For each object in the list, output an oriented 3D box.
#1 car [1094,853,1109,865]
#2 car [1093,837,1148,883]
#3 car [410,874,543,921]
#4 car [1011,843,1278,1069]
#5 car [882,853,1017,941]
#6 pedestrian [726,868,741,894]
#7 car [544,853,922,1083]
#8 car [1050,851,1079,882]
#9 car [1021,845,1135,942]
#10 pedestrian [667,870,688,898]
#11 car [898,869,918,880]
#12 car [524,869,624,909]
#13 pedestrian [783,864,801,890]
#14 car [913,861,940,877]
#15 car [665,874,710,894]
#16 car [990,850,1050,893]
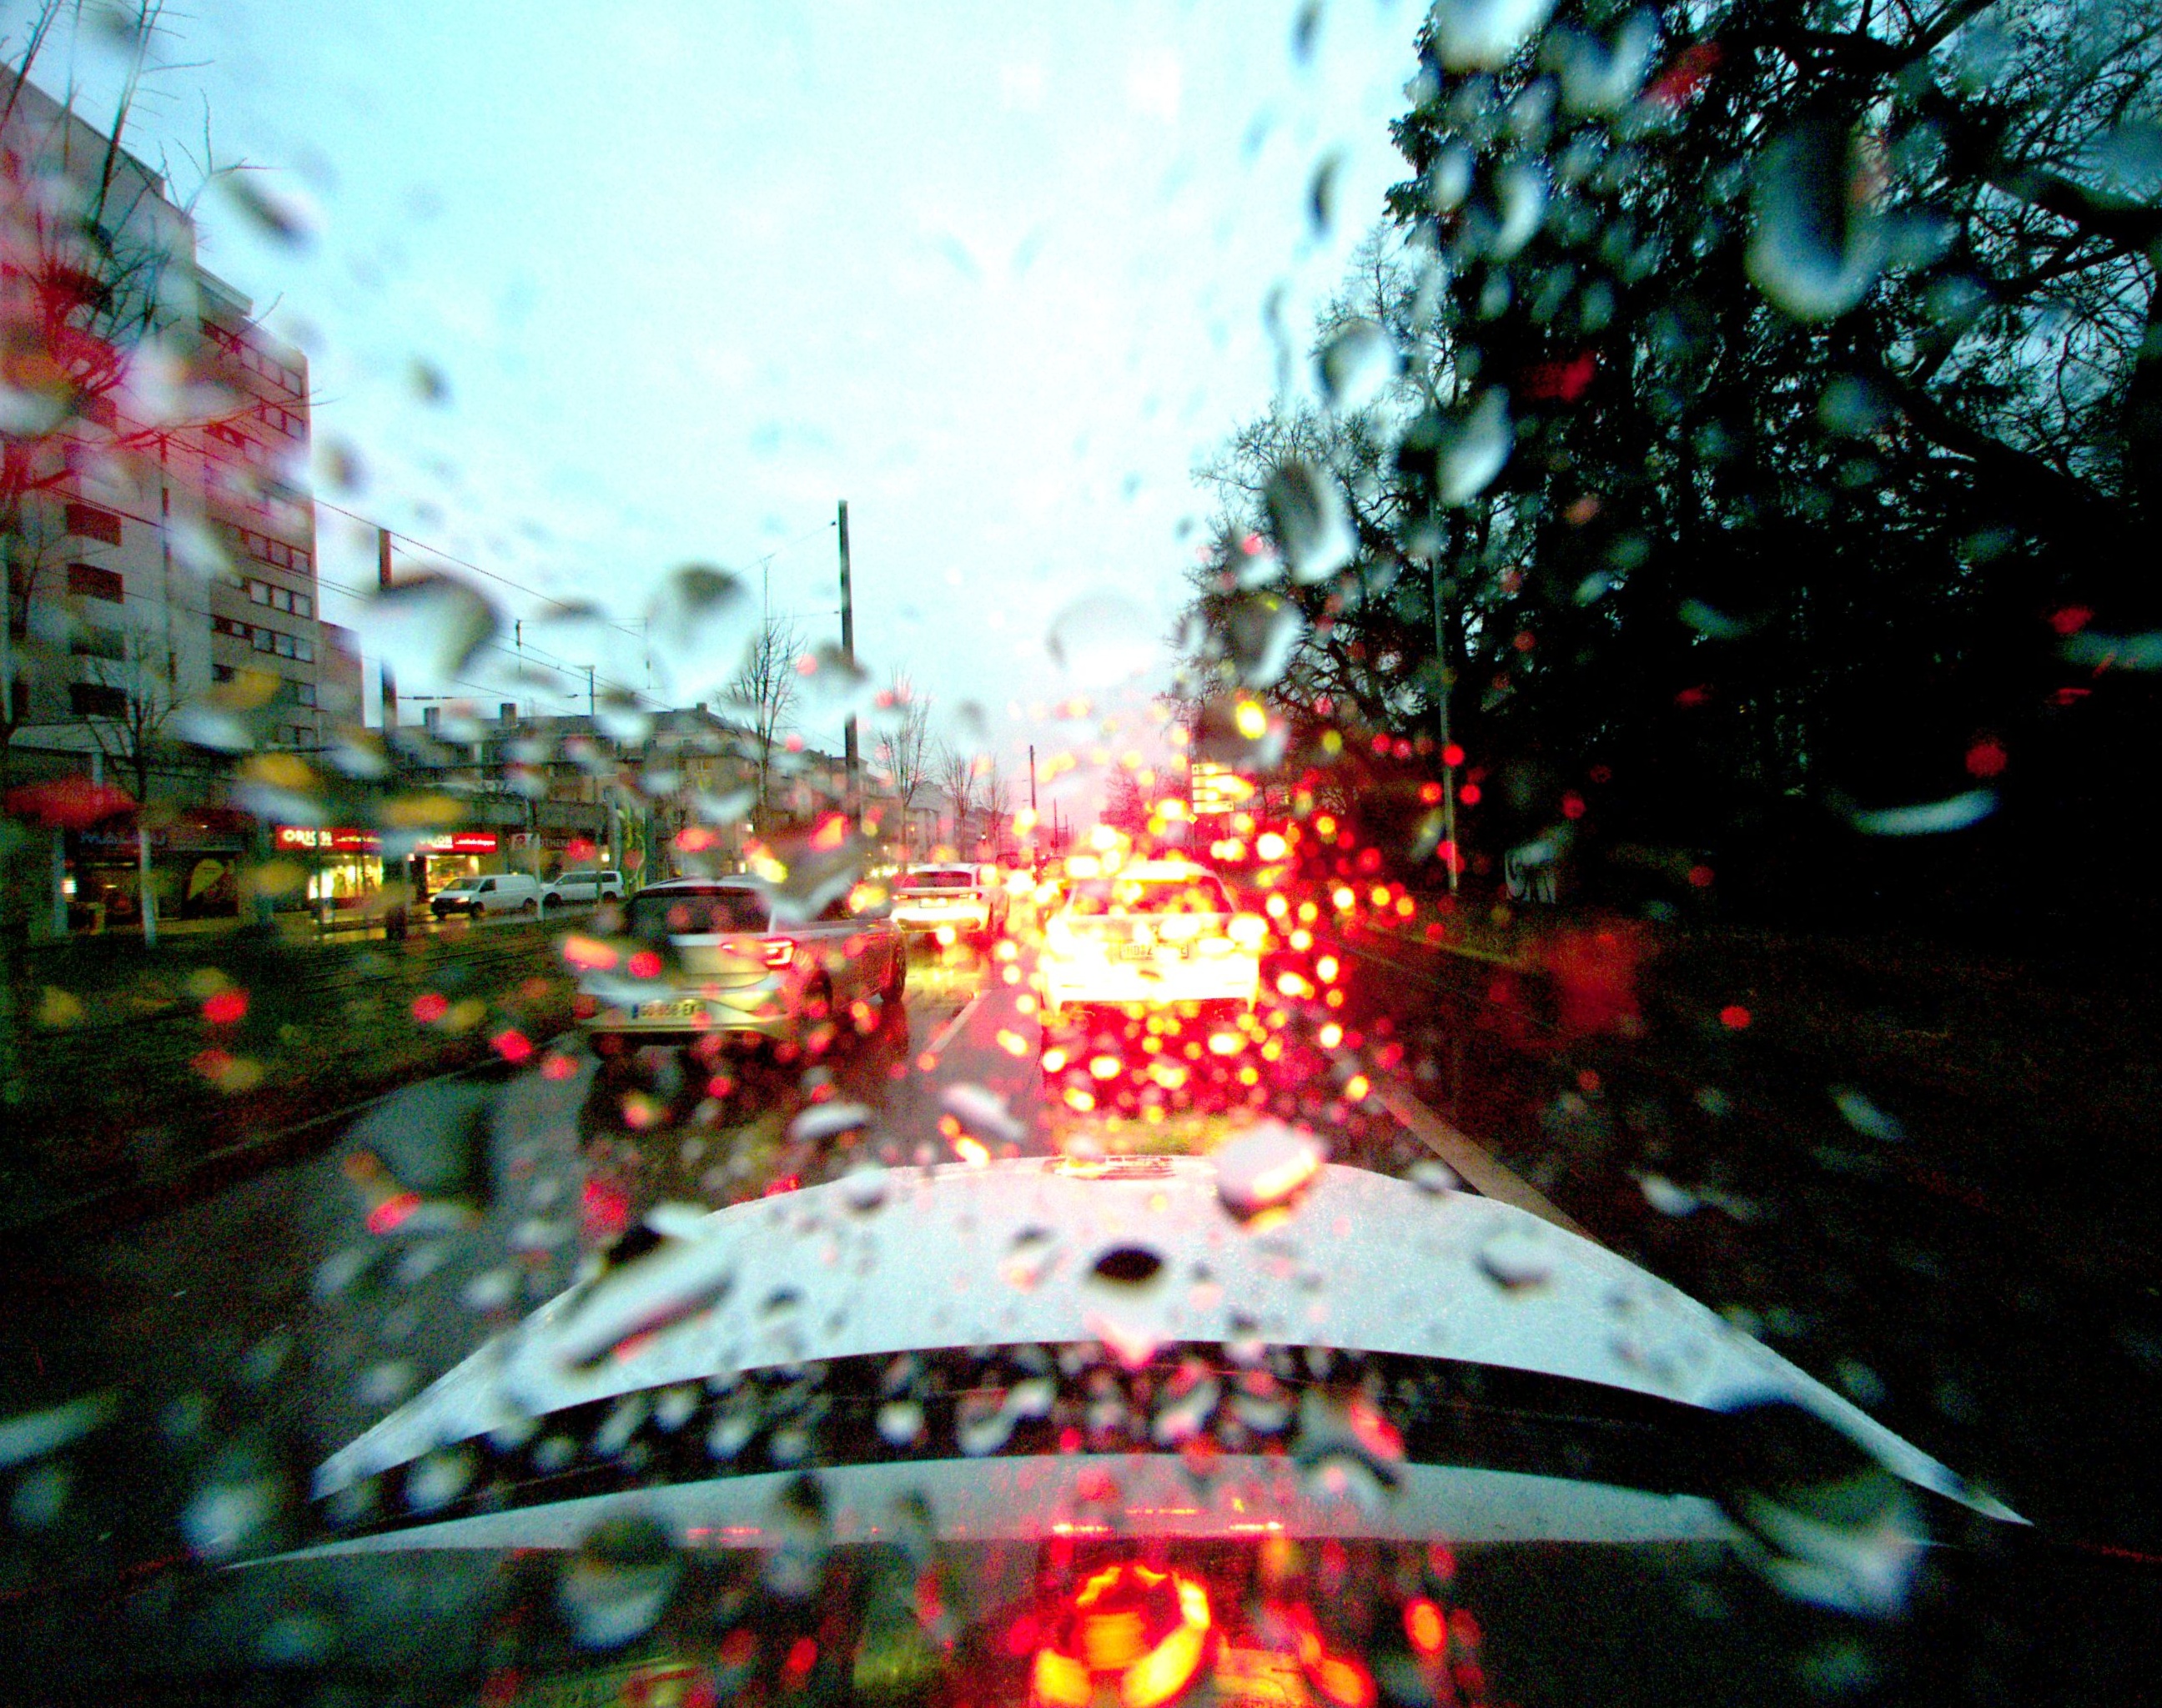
[{"bbox_3d":[2.589,0.630,102.146,1.731,1.419,4.147,-2,0,2],"label":"car"},{"bbox_3d":[1.348,0.196,28.279,1.731,1.419,3.704,-2,0,2],"label":"car"},{"bbox_3d":[-29.709,2.082,40.324,1.983,2.046,5.575,0,-1,6],"label":"car"},{"bbox_3d":[0.536,0.733,8.347,1.855,1.556,4.940,-2,0,2],"label":"car"},{"bbox_3d":[-2.497,0.764,16.618,1.792,1.466,4.587,-2,0,2],"label":"car"},{"bbox_3d":[-27.440,2.131,64.234,0.962,2.013,1.001,-2,0,-20],"label":"pedestrian"},{"bbox_3d":[-2.768,0.776,7.560,1.687,1.533,4.001,-1,0,1],"label":"car"},{"bbox_3d":[-0.906,0.677,44.763,1.501,1.653,2.843,0,-1,-2],"label":"car"},{"bbox_3d":[0.009,0.643,15.108,1.793,1.511,3.897,-2,0,2],"label":"car"},{"bbox_3d":[-29.309,2.165,59.185,1.077,2.013,0.995,-2,0,-43],"label":"pedestrian"},{"bbox_3d":[-20.739,2.435,97.677,1.688,1.277,4.141,-2,0,-4],"label":"car"},{"bbox_3d":[-30.707,2.086,49.428,4.859,2.244,1.975,0,-1,-44],"label":"car"},{"bbox_3d":[-23.351,1.844,65.780,1.274,2.013,1.000,-2,0,-23],"label":"pedestrian"},{"bbox_3d":[-16.131,1.558,85.128,1.987,1.602,4.000,0,-1,1],"label":"car"},{"bbox_3d":[-40.676,3.125,84.313,3.744,1.942,1.838,0,-1,-7],"label":"car"},{"bbox_3d":[-2.248,0.618,31.086,1.731,1.419,4.395,-2,0,2],"label":"car"}]
